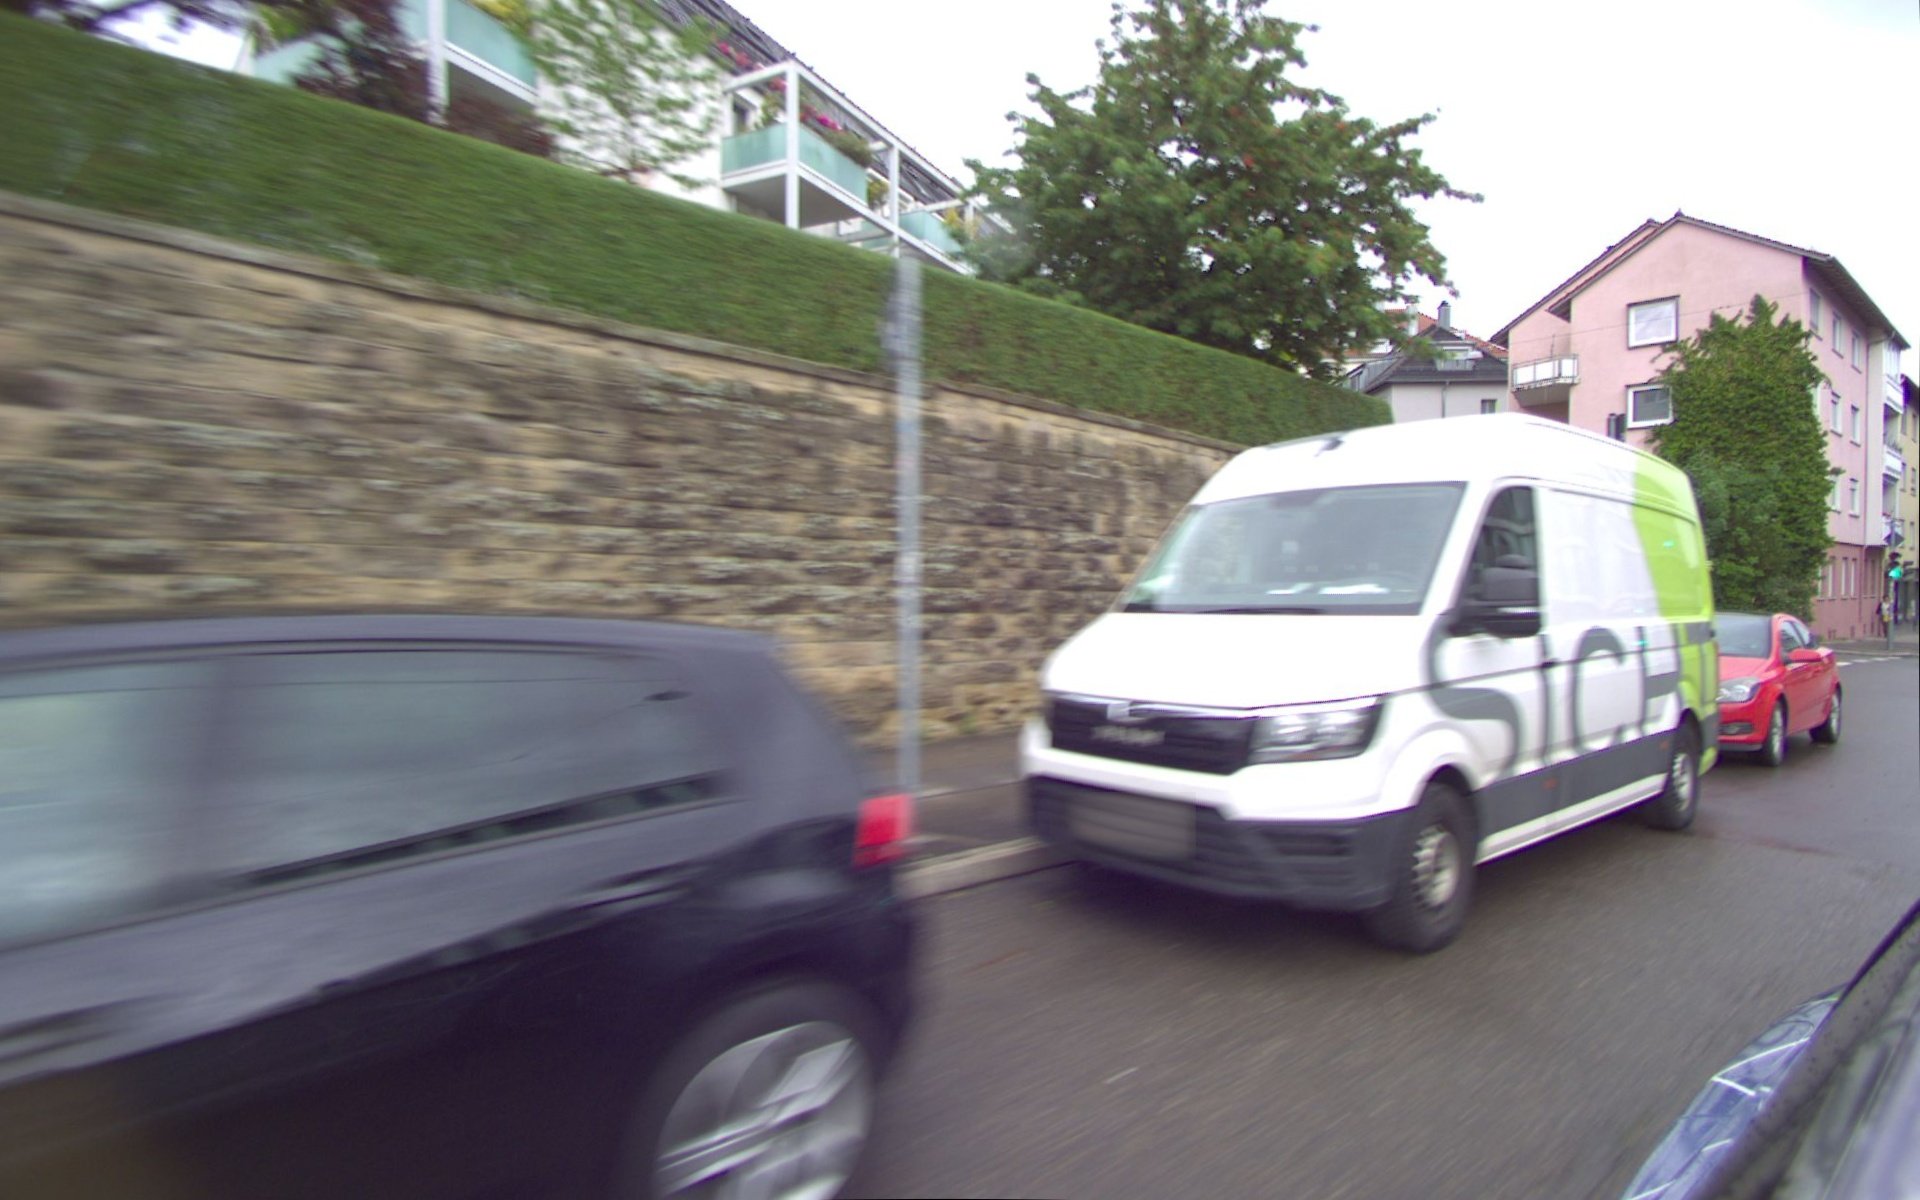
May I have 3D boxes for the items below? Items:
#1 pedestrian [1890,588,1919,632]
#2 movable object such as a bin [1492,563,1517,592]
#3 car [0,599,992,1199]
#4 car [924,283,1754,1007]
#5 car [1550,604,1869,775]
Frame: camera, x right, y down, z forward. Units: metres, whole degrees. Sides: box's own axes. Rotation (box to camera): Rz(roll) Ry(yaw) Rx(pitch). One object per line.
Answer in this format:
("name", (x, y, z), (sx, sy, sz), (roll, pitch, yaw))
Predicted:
("pedestrian", (39.416, 0.422, 42.244), (0.735, 1.795, 0.715), (2, 2, -40))
("movable object such as a bin", (22.847, -0.965, 42.448), (0.754, 1.171, 0.740), (3, 4, 40))
("car", (-2.033, 0.735, 1.725), (4.161, 1.472, 1.691), (1, -1, -41))
("car", (2.795, 0.179, 6.280), (5.972, 2.495, 2.209), (1, -1, -40))
("car", (7.890, 0.773, 10.519), (4.127, 1.439, 1.724), (1, -1, -40))
